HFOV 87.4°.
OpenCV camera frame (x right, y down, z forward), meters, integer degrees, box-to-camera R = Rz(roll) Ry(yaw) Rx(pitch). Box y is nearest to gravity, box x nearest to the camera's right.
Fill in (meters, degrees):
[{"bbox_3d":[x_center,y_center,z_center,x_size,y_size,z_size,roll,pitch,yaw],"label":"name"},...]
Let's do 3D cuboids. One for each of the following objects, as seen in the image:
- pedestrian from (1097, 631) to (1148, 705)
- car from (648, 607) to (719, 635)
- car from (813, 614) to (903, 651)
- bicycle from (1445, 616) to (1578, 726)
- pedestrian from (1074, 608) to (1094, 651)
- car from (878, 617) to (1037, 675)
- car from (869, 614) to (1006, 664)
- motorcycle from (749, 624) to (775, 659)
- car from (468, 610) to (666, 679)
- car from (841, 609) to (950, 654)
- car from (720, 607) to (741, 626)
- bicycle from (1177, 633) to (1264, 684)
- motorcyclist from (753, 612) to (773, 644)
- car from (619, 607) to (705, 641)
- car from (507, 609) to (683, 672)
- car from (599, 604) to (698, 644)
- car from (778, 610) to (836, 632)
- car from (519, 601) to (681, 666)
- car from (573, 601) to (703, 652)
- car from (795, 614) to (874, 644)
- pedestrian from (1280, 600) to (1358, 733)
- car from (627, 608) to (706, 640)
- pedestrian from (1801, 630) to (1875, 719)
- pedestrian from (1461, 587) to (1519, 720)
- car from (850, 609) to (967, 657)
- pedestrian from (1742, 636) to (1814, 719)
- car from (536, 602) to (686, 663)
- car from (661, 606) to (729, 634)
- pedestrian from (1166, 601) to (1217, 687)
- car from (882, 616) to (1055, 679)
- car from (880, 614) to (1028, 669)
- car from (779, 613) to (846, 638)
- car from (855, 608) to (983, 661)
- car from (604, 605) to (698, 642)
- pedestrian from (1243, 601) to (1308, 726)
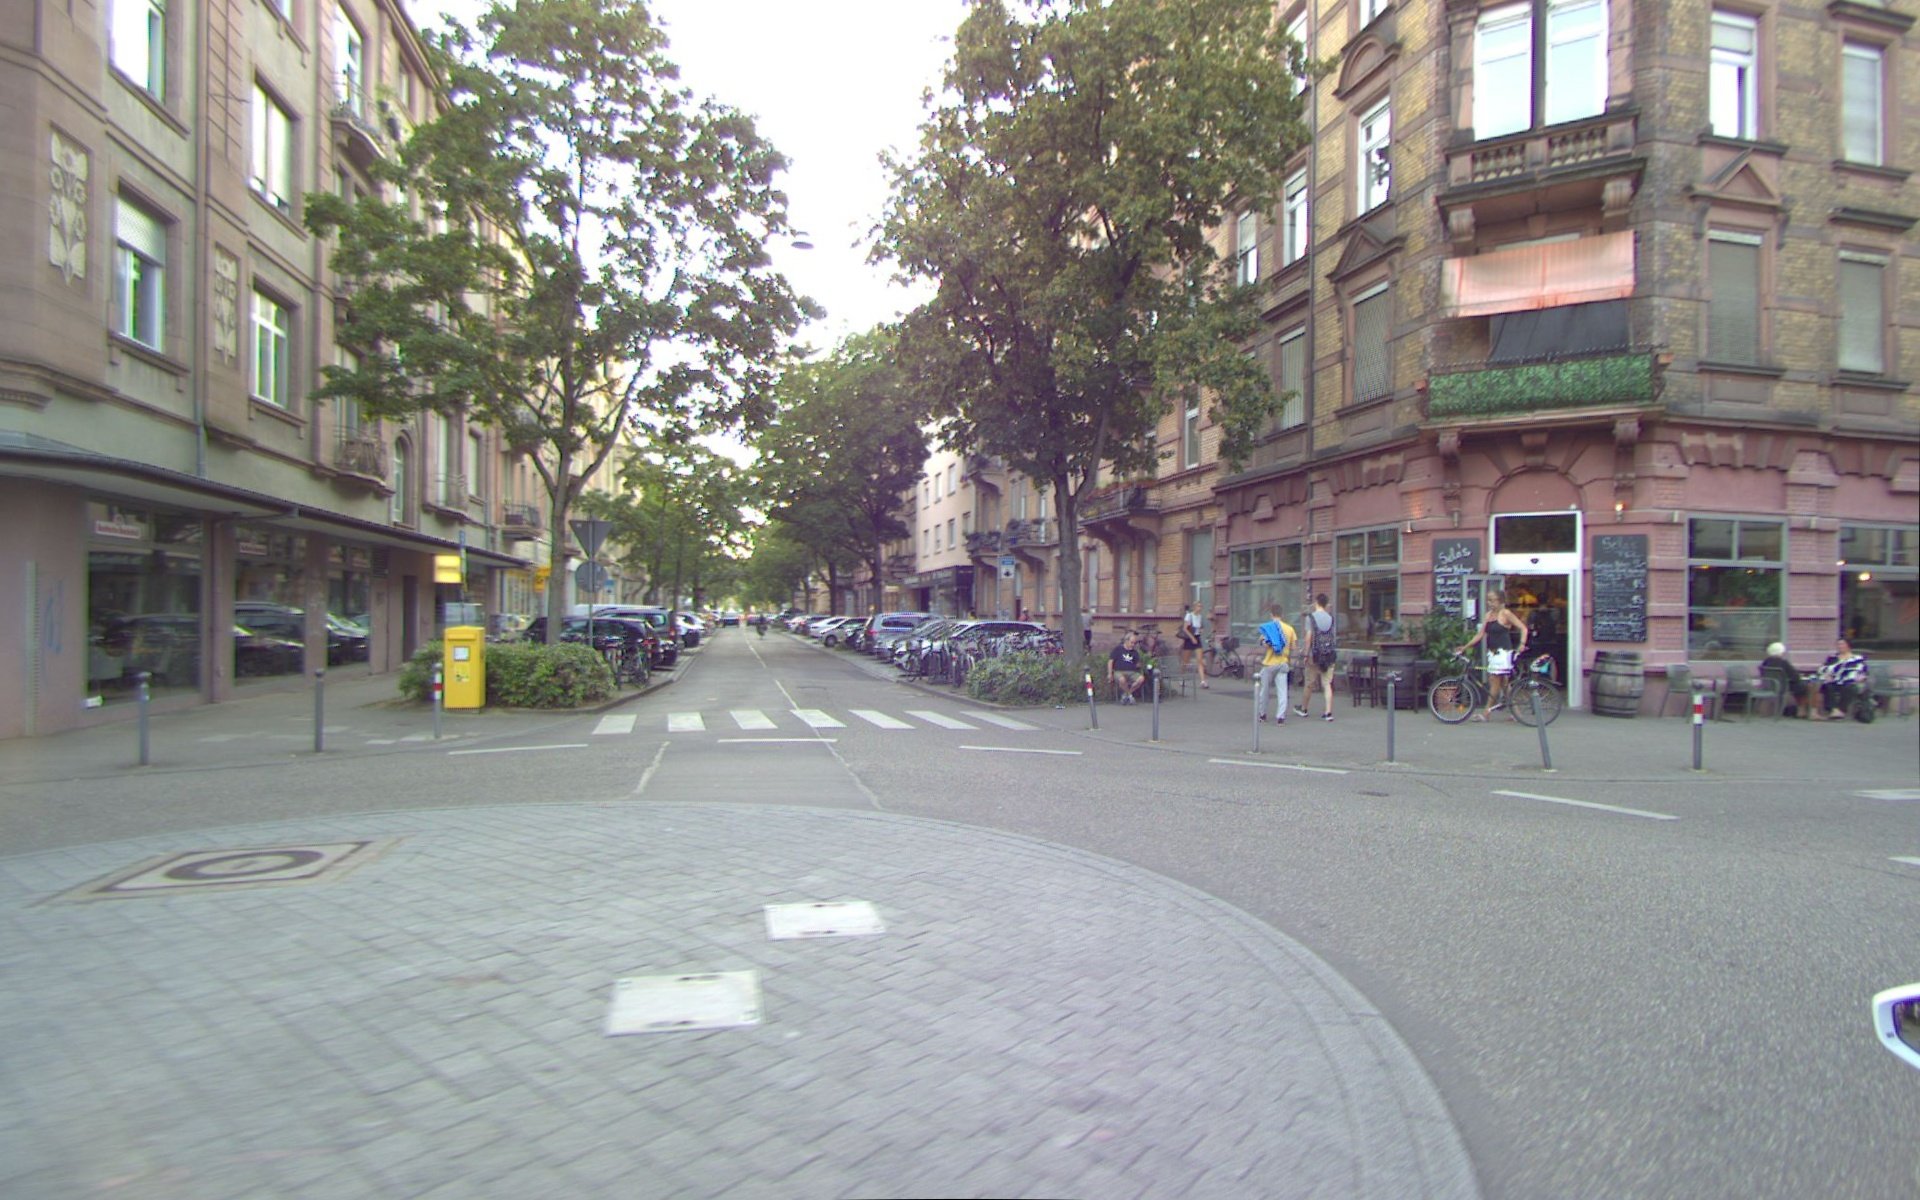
[{"bbox_3d":[2.921,1.212,18.096,0.657,1.279,0.754,1,1,-14],"label":"pedestrian"},{"bbox_3d":[-20.165,1.529,73.471,4.922,1.978,1.994,1,1,-15],"label":"car"},{"bbox_3d":[-5.326,1.677,52.431,4.421,1.822,1.994,1,1,-15],"label":"car"},{"bbox_3d":[7.616,0.966,13.862,1.874,1.462,0.423,1,1,-19],"label":"bicycle"},{"bbox_3d":[3.804,0.906,30.885,0.563,1.279,0.457,1,1,11],"label":"pedestrian"},{"bbox_3d":[-0.103,1.360,30.244,4.421,1.600,1.994,1,1,-15],"label":"car"},{"bbox_3d":[-0.805,1.350,34.889,4.421,1.600,1.994,1,1,-15],"label":"car"},{"bbox_3d":[-12.887,2.666,65.301,1.148,2.041,3.983,1,1,-19],"label":"motorcycle"},{"bbox_3d":[-9.815,1.099,25.459,4.421,1.600,1.994,1,1,-15],"label":"car"},{"bbox_3d":[-2.819,1.343,43.514,4.421,1.822,1.994,1,1,-15],"label":"car"},{"bbox_3d":[-26.336,1.839,115.219,1.969,2.041,3.982,1,1,-19],"label":"car"},{"bbox_3d":[5.969,1.314,23.219,0.615,0.971,2.897,1,1,-14],"label":"bicycle"},{"bbox_3d":[-12.783,1.819,65.111,1.149,2.041,1.035,1,1,-19],"label":"motorcyclist"},{"bbox_3d":[-18.137,1.473,61.404,4.922,1.978,1.994,1,1,-15],"label":"car"},{"bbox_3d":[-10.039,1.112,27.994,4.421,1.600,1.994,1,1,-15],"label":"car"},{"bbox_3d":[-16.598,1.281,53.821,4.922,1.978,1.994,1,1,-15],"label":"car"},{"bbox_3d":[-12.177,1.659,79.930,4.421,1.637,1.994,1,1,-15],"label":"car"},{"bbox_3d":[-10.807,1.000,30.459,4.421,1.855,1.994,1,1,-15],"label":"car"},{"bbox_3d":[-13.136,1.078,41.278,4.922,1.978,1.994,1,1,-15],"label":"car"},{"bbox_3d":[-7.453,1.727,59.503,4.421,1.637,1.994,1,1,-15],"label":"car"},{"bbox_3d":[5.368,0.961,15.026,0.612,1.910,0.894,0,1,-44],"label":"pedestrian"},{"bbox_3d":[-19.314,1.609,66.349,4.922,1.978,1.994,1,1,-15],"label":"car"},{"bbox_3d":[13.580,1.139,15.546,0.531,1.303,0.648,1,1,-17],"label":"pedestrian"},{"bbox_3d":[7.603,0.751,14.412,0.567,1.865,0.500,1,1,-36],"label":"pedestrian"},{"bbox_3d":[-2.104,1.334,40.818,4.421,1.822,1.994,1,1,-15],"label":"car"},{"bbox_3d":[12.443,1.165,15.289,0.531,1.207,0.648,1,1,-17],"label":"pedestrian"},{"bbox_3d":[-11.230,1.053,32.688,4.421,1.855,1.994,1,1,-15],"label":"car"},{"bbox_3d":[-20.217,1.500,76.678,4.922,1.978,1.994,1,1,-15],"label":"car"},{"bbox_3d":[4.834,0.908,20.991,0.657,1.748,0.919,1,1,-14],"label":"pedestrian"},{"bbox_3d":[0.193,1.290,27.879,4.421,1.600,1.994,1,1,-15],"label":"car"},{"bbox_3d":[-0.233,1.318,32.426,4.421,1.641,1.994,1,1,-15],"label":"car"},{"bbox_3d":[-10.312,1.785,69.939,4.421,1.637,1.994,1,1,-15],"label":"car"},{"bbox_3d":[-1.544,1.281,37.450,4.421,1.822,1.994,1,1,-15],"label":"car"},{"bbox_3d":[-17.341,1.314,56.654,4.922,1.978,1.994,1,1,-15],"label":"car"},{"bbox_3d":[4.613,0.910,14.726,0.604,1.759,0.906,1,1,-3],"label":"pedestrian"}]
